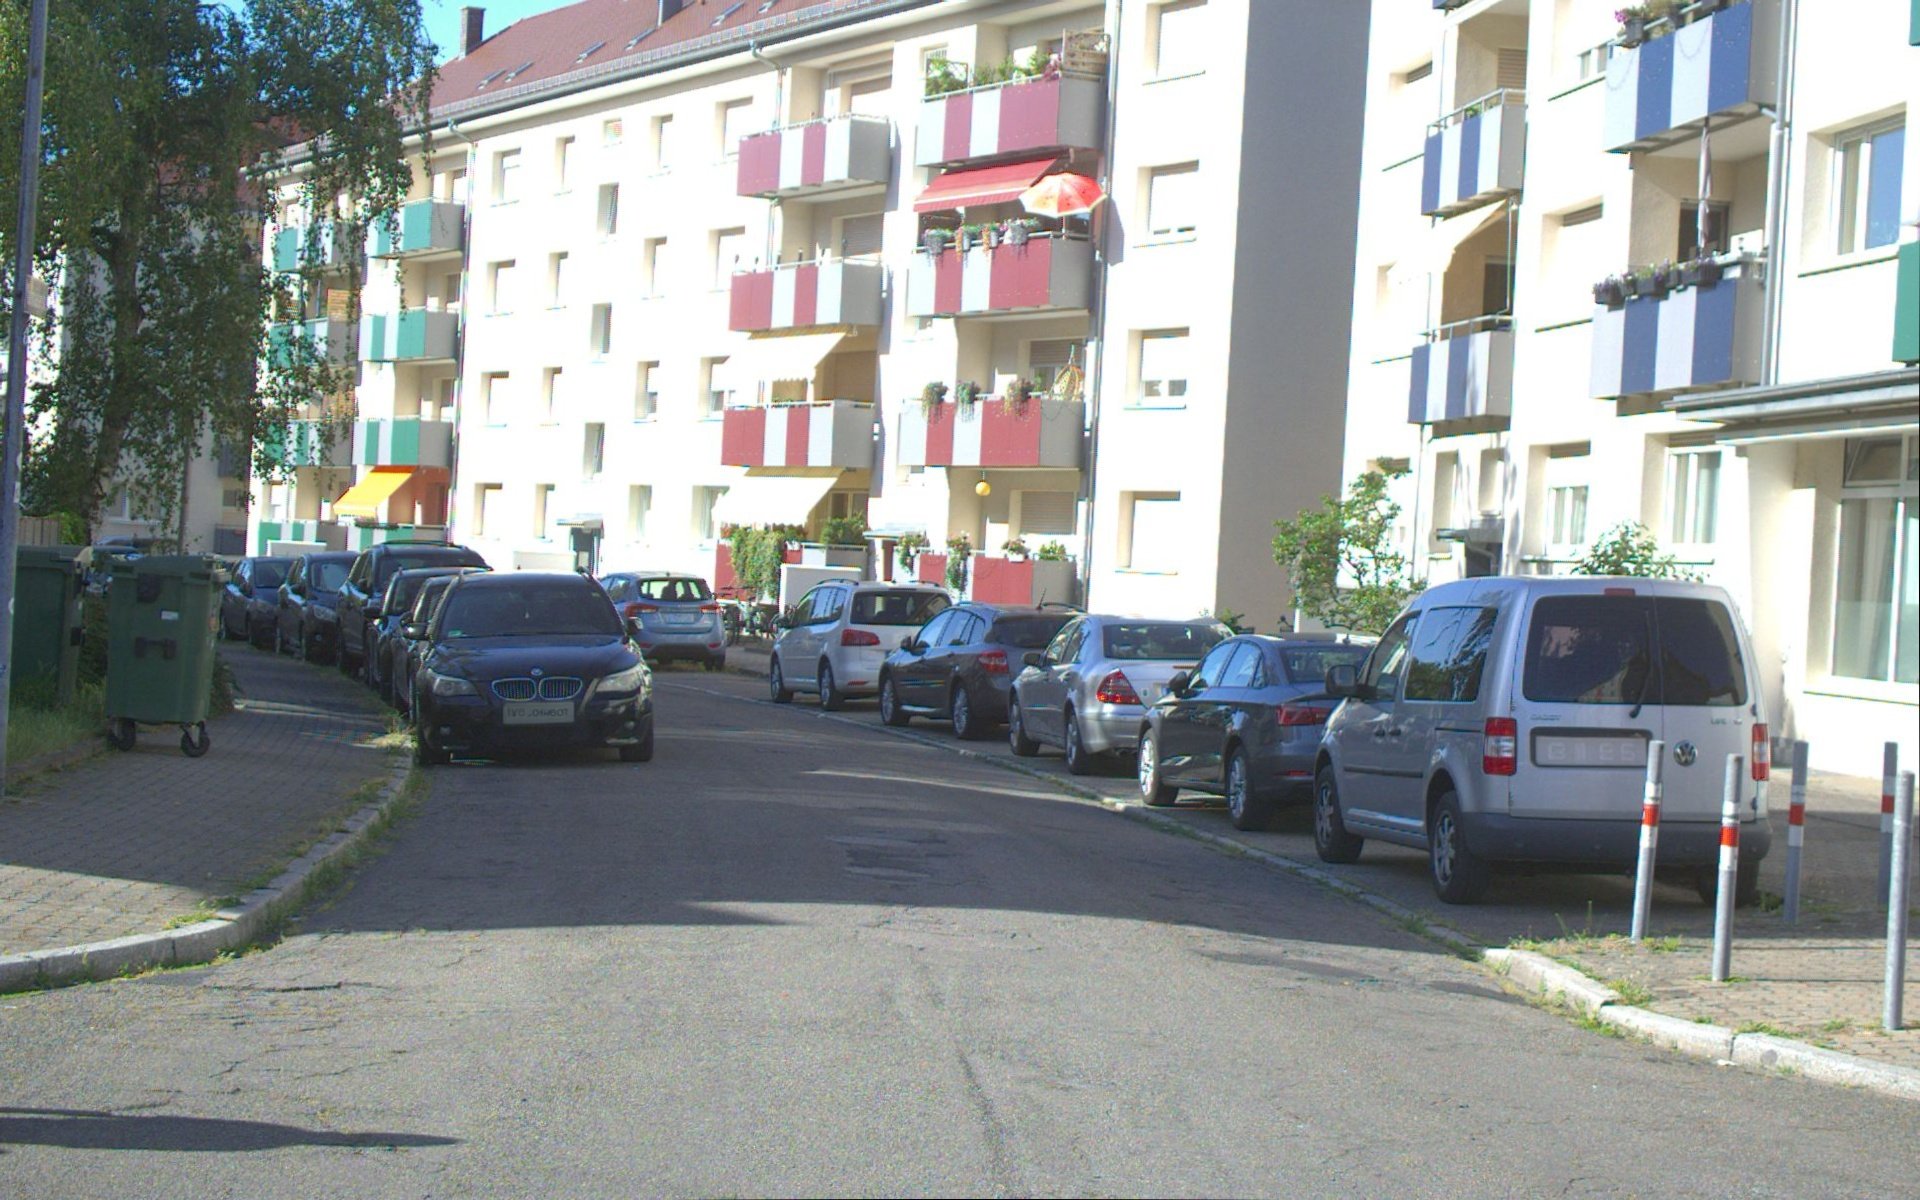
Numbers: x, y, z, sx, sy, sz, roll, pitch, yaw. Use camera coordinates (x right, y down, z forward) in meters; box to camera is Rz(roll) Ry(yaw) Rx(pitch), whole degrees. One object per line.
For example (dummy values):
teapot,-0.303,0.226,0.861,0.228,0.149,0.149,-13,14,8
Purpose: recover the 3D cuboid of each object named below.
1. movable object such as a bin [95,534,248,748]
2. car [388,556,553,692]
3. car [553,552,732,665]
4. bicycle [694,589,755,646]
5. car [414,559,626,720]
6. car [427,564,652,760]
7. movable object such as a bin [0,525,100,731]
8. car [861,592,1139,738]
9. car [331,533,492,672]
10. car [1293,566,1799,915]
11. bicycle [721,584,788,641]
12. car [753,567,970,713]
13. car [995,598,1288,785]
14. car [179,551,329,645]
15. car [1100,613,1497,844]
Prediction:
movable object such as a bin,-5.406,0.266,23.641,0.775,1.388,1.417,3,0,-6
car,-5.544,0.233,38.630,1.555,1.437,3.969,0,1,-12
car,-5.262,0.114,56.547,1.765,1.630,4.043,1,2,-22
bicycle,-4.471,0.329,65.181,0.497,1.016,1.842,1,1,-26
car,-4.332,0.336,33.373,1.677,1.437,4.281,0,1,-12
car,-3.504,0.448,28.208,1.677,1.448,4.622,0,1,-8
movable object such as a bin,-6.747,0.164,23.988,1.220,1.375,0.767,4,0,-1
car,0.356,0.673,37.815,1.693,1.427,4.689,2,0,-17
car,-7.140,-0.003,44.463,1.555,1.708,4.339,0,1,-16
car,3.311,0.730,20.263,1.746,1.818,4.132,1,1,-8
bicycle,-3.954,0.232,65.916,0.617,0.975,1.896,0,3,-25
car,-1.333,0.479,44.351,1.693,1.650,4.392,2,1,-16
car,1.601,0.792,32.059,1.677,1.442,4.725,3,1,-9
car,-12.097,-0.054,58.744,1.693,1.384,4.158,3,1,-22
car,2.430,0.900,25.915,1.677,1.402,4.547,3,1,-11
